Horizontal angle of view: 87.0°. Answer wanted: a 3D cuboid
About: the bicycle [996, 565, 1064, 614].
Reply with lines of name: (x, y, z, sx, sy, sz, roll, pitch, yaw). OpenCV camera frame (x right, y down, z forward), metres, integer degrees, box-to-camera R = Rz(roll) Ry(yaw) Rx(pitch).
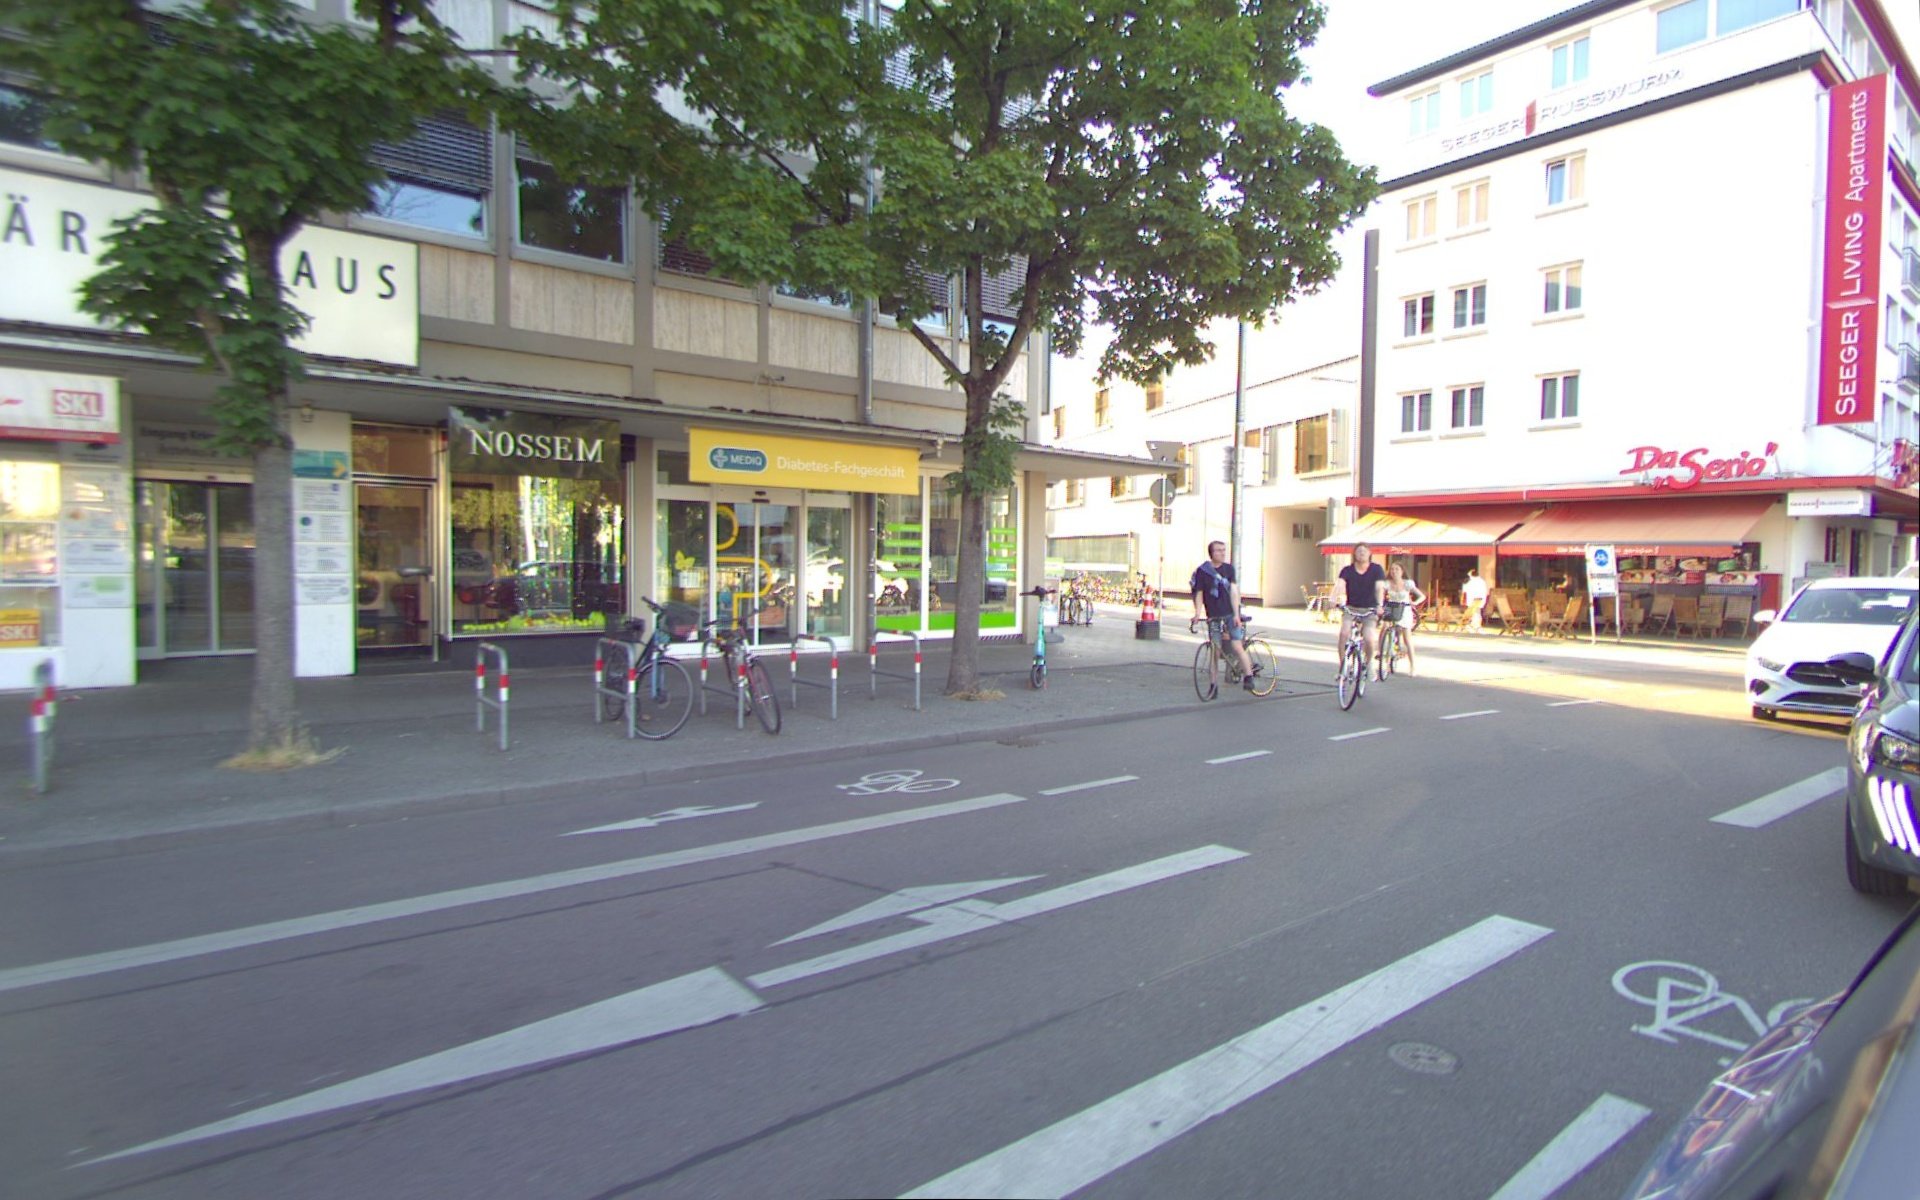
bicycle: (1.815, -0.272, 26.329, 1.651, 1.201, 0.487, 2, 1, -22)

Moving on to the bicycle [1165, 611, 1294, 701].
bicycle: (3.221, 0.630, 12.018, 1.661, 0.912, 0.675, -1, 3, -42)

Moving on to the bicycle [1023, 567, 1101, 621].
bicycle: (2.439, -0.150, 24.127, 1.743, 1.201, 0.556, 2, 1, -22)

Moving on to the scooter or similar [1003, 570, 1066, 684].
scooter or similar: (0.916, 0.308, 12.714, 0.504, 1.338, 1.283, 0, 2, -8)

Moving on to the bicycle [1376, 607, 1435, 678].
bicycle: (6.242, 0.561, 14.141, 0.595, 0.835, 1.723, 2, 3, 29)

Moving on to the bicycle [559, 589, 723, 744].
bicycle: (-2.859, 0.523, 8.972, 1.741, 1.154, 0.656, 4, 4, 45)

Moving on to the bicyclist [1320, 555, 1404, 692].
bicyclist: (4.622, 0.247, 11.634, 0.705, 1.505, 0.613, -1, 3, -40)

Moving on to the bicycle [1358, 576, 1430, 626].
bicycle: (11.025, 0.004, 25.759, 0.589, 1.180, 1.636, -3, 4, -33)

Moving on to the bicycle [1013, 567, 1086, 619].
bicycle: (2.230, -0.173, 25.187, 1.682, 1.201, 0.541, 2, 1, -22)

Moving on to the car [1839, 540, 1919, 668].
car: (16.220, 0.061, 15.734, 4.774, 1.860, 2.005, 0, 2, -24)

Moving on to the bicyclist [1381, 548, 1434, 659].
bicyclist: (6.259, 0.030, 14.148, 0.583, 1.505, 0.711, 2, 2, 29)

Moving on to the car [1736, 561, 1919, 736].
car: (9.948, 0.366, 10.663, 4.482, 1.466, 1.815, -3, 4, -39)

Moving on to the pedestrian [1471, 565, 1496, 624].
pedestrian: (13.185, -0.140, 25.485, 0.503, 1.467, 0.503, 2, 2, 25)

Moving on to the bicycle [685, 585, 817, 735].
bicycle: (-1.973, 0.501, 9.390, 0.528, 1.199, 1.637, -1, 4, -38)

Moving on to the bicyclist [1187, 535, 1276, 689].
bicyclist: (3.211, 0.114, 11.987, 0.796, 1.748, 0.665, -1, 3, -42)

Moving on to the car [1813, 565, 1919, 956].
car: (5.792, 0.599, 5.175, 1.911, 1.522, 4.629, 3, 3, 43)

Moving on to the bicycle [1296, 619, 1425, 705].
bicycle: (4.638, 0.679, 11.663, 1.774, 0.835, 0.614, -1, 3, -40)
